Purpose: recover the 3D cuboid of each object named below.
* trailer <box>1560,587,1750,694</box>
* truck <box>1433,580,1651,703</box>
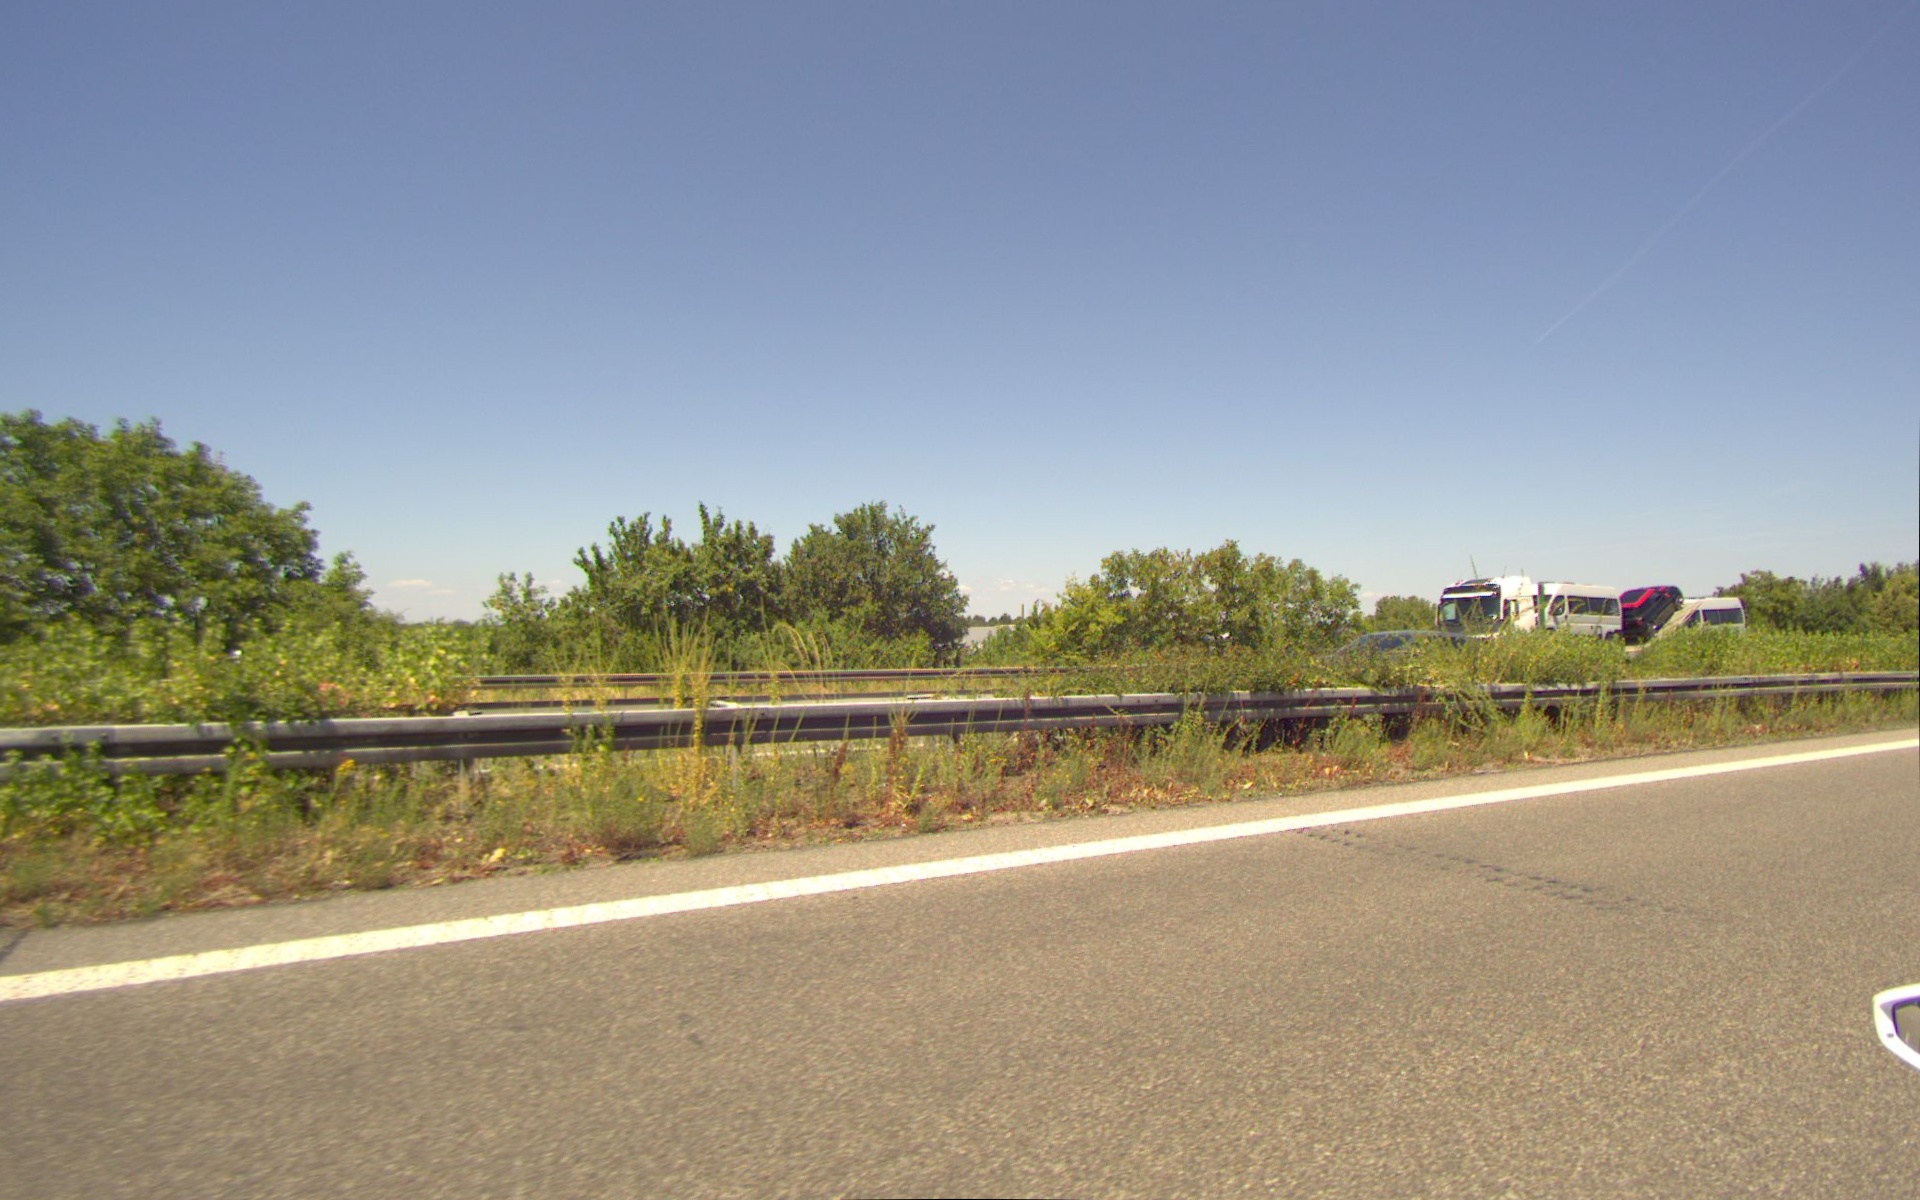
[{"bbox_3d":[28.894,1.606,41.565,9.551,4.043,2.910,1,0,-32],"label":"trailer"},{"bbox_3d":[21.575,1.451,36.985,9.518,4.043,2.901,1,0,-33],"label":"truck"}]
